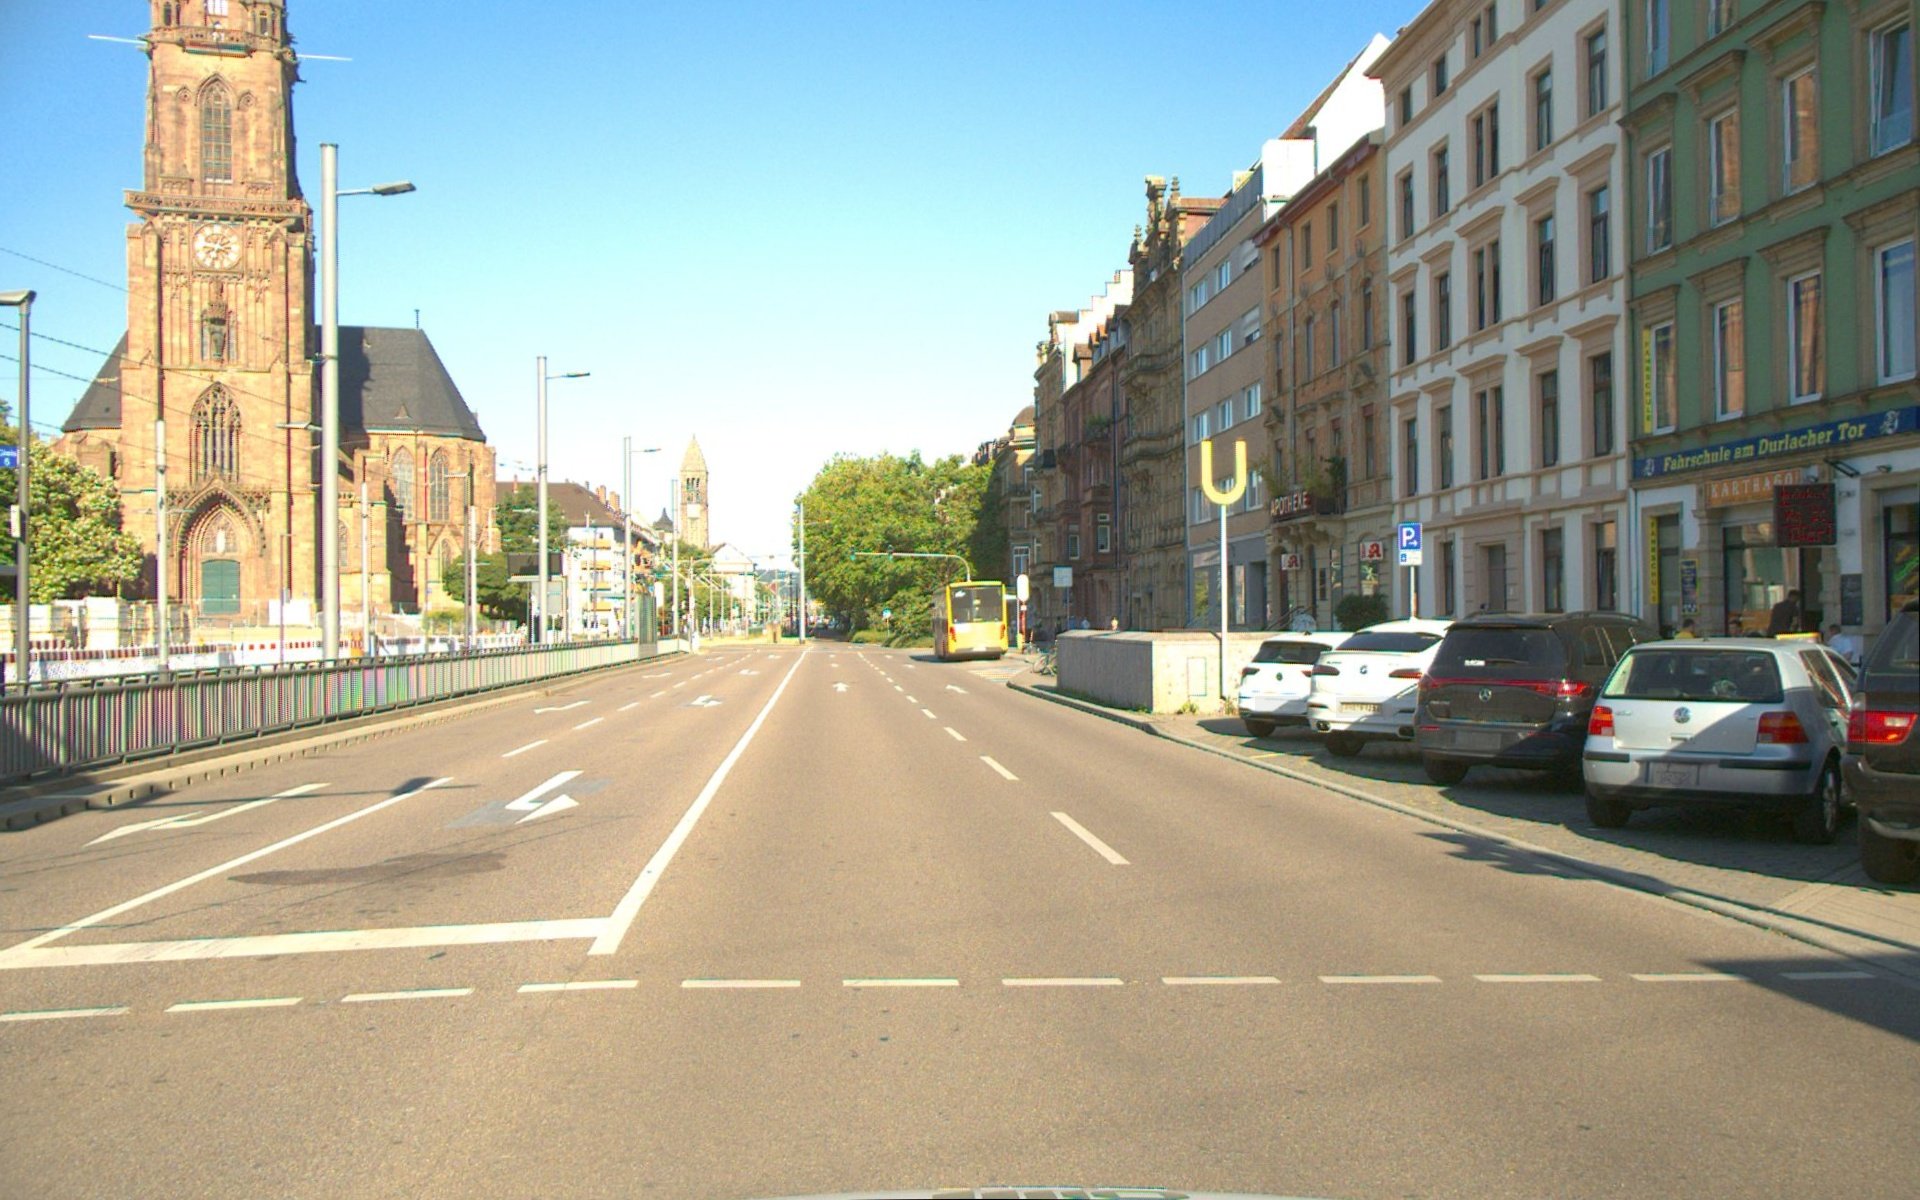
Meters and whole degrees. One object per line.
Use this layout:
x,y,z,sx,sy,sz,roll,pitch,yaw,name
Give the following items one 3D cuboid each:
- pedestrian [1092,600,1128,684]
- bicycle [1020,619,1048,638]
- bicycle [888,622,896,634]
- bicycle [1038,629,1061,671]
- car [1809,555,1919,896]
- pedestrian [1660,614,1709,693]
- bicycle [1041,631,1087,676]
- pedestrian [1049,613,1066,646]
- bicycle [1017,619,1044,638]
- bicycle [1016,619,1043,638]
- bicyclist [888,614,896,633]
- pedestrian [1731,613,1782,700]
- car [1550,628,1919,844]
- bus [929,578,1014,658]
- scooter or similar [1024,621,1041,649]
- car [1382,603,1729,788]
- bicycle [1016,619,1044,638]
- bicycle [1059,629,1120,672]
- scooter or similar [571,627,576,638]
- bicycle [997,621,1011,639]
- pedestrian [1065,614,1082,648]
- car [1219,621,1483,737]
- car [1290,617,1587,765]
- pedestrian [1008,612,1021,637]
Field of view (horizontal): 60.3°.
3.758,1.046,41.427,0.736,2.048,0.697,-2,2,-5,pedestrian
5.212,1.984,116.287,1.854,1.260,0.488,-2,-2,-18,bicycle
-6.566,2.715,160.667,0.629,1.066,2.357,-2,-2,-5,bicycle
2.616,1.468,48.483,0.459,1.167,1.769,0,0,-5,bicycle
6.933,0.704,10.215,1.927,1.846,4.222,0,-1,43,car
12.605,0.923,28.783,0.506,1.342,0.590,-1,-1,-12,pedestrian
2.869,1.467,45.792,0.463,1.167,1.755,0,0,-27,bicycle
5.817,1.764,98.955,0.806,1.964,1.135,-1,-1,-5,pedestrian
5.021,2.053,117.427,1.854,1.260,0.488,-2,-2,-18,bicycle
4.939,2.032,118.009,1.854,1.260,0.488,-2,-2,-18,bicycle
-6.584,2.282,160.727,0.629,1.846,1.051,-2,-2,-6,bicyclist
12.492,0.882,25.956,0.504,1.342,0.592,-1,-1,2,pedestrian
6.283,0.975,13.132,1.756,1.424,3.870,0,-2,41,car
0.373,0.831,74.905,2.662,3.237,12.527,-2,-1,-5,bus
3.469,1.678,79.142,0.424,1.271,1.290,-2,-2,-14,scooter or similar
6.156,0.870,16.829,1.925,1.626,4.226,0,-1,41,car
4.960,2.032,116.802,1.854,1.260,0.488,-2,-2,-18,bicycle
3.768,1.465,48.141,1.730,1.208,0.469,0,0,-5,bicycle
-45.621,3.844,195.254,0.393,1.283,1.230,-2,2,-4,scooter or similar
3.203,2.179,120.563,0.481,1.260,1.882,-2,-2,-14,bicycle
6.658,1.804,97.303,0.806,1.964,1.135,-1,-1,-5,pedestrian
5.705,1.075,23.863,1.928,1.489,4.086,-2,-1,43,car
5.932,1.020,20.210,1.925,1.598,4.227,0,-1,41,car
3.690,1.643,112.127,0.689,1.685,1.135,-1,-1,-5,pedestrian
